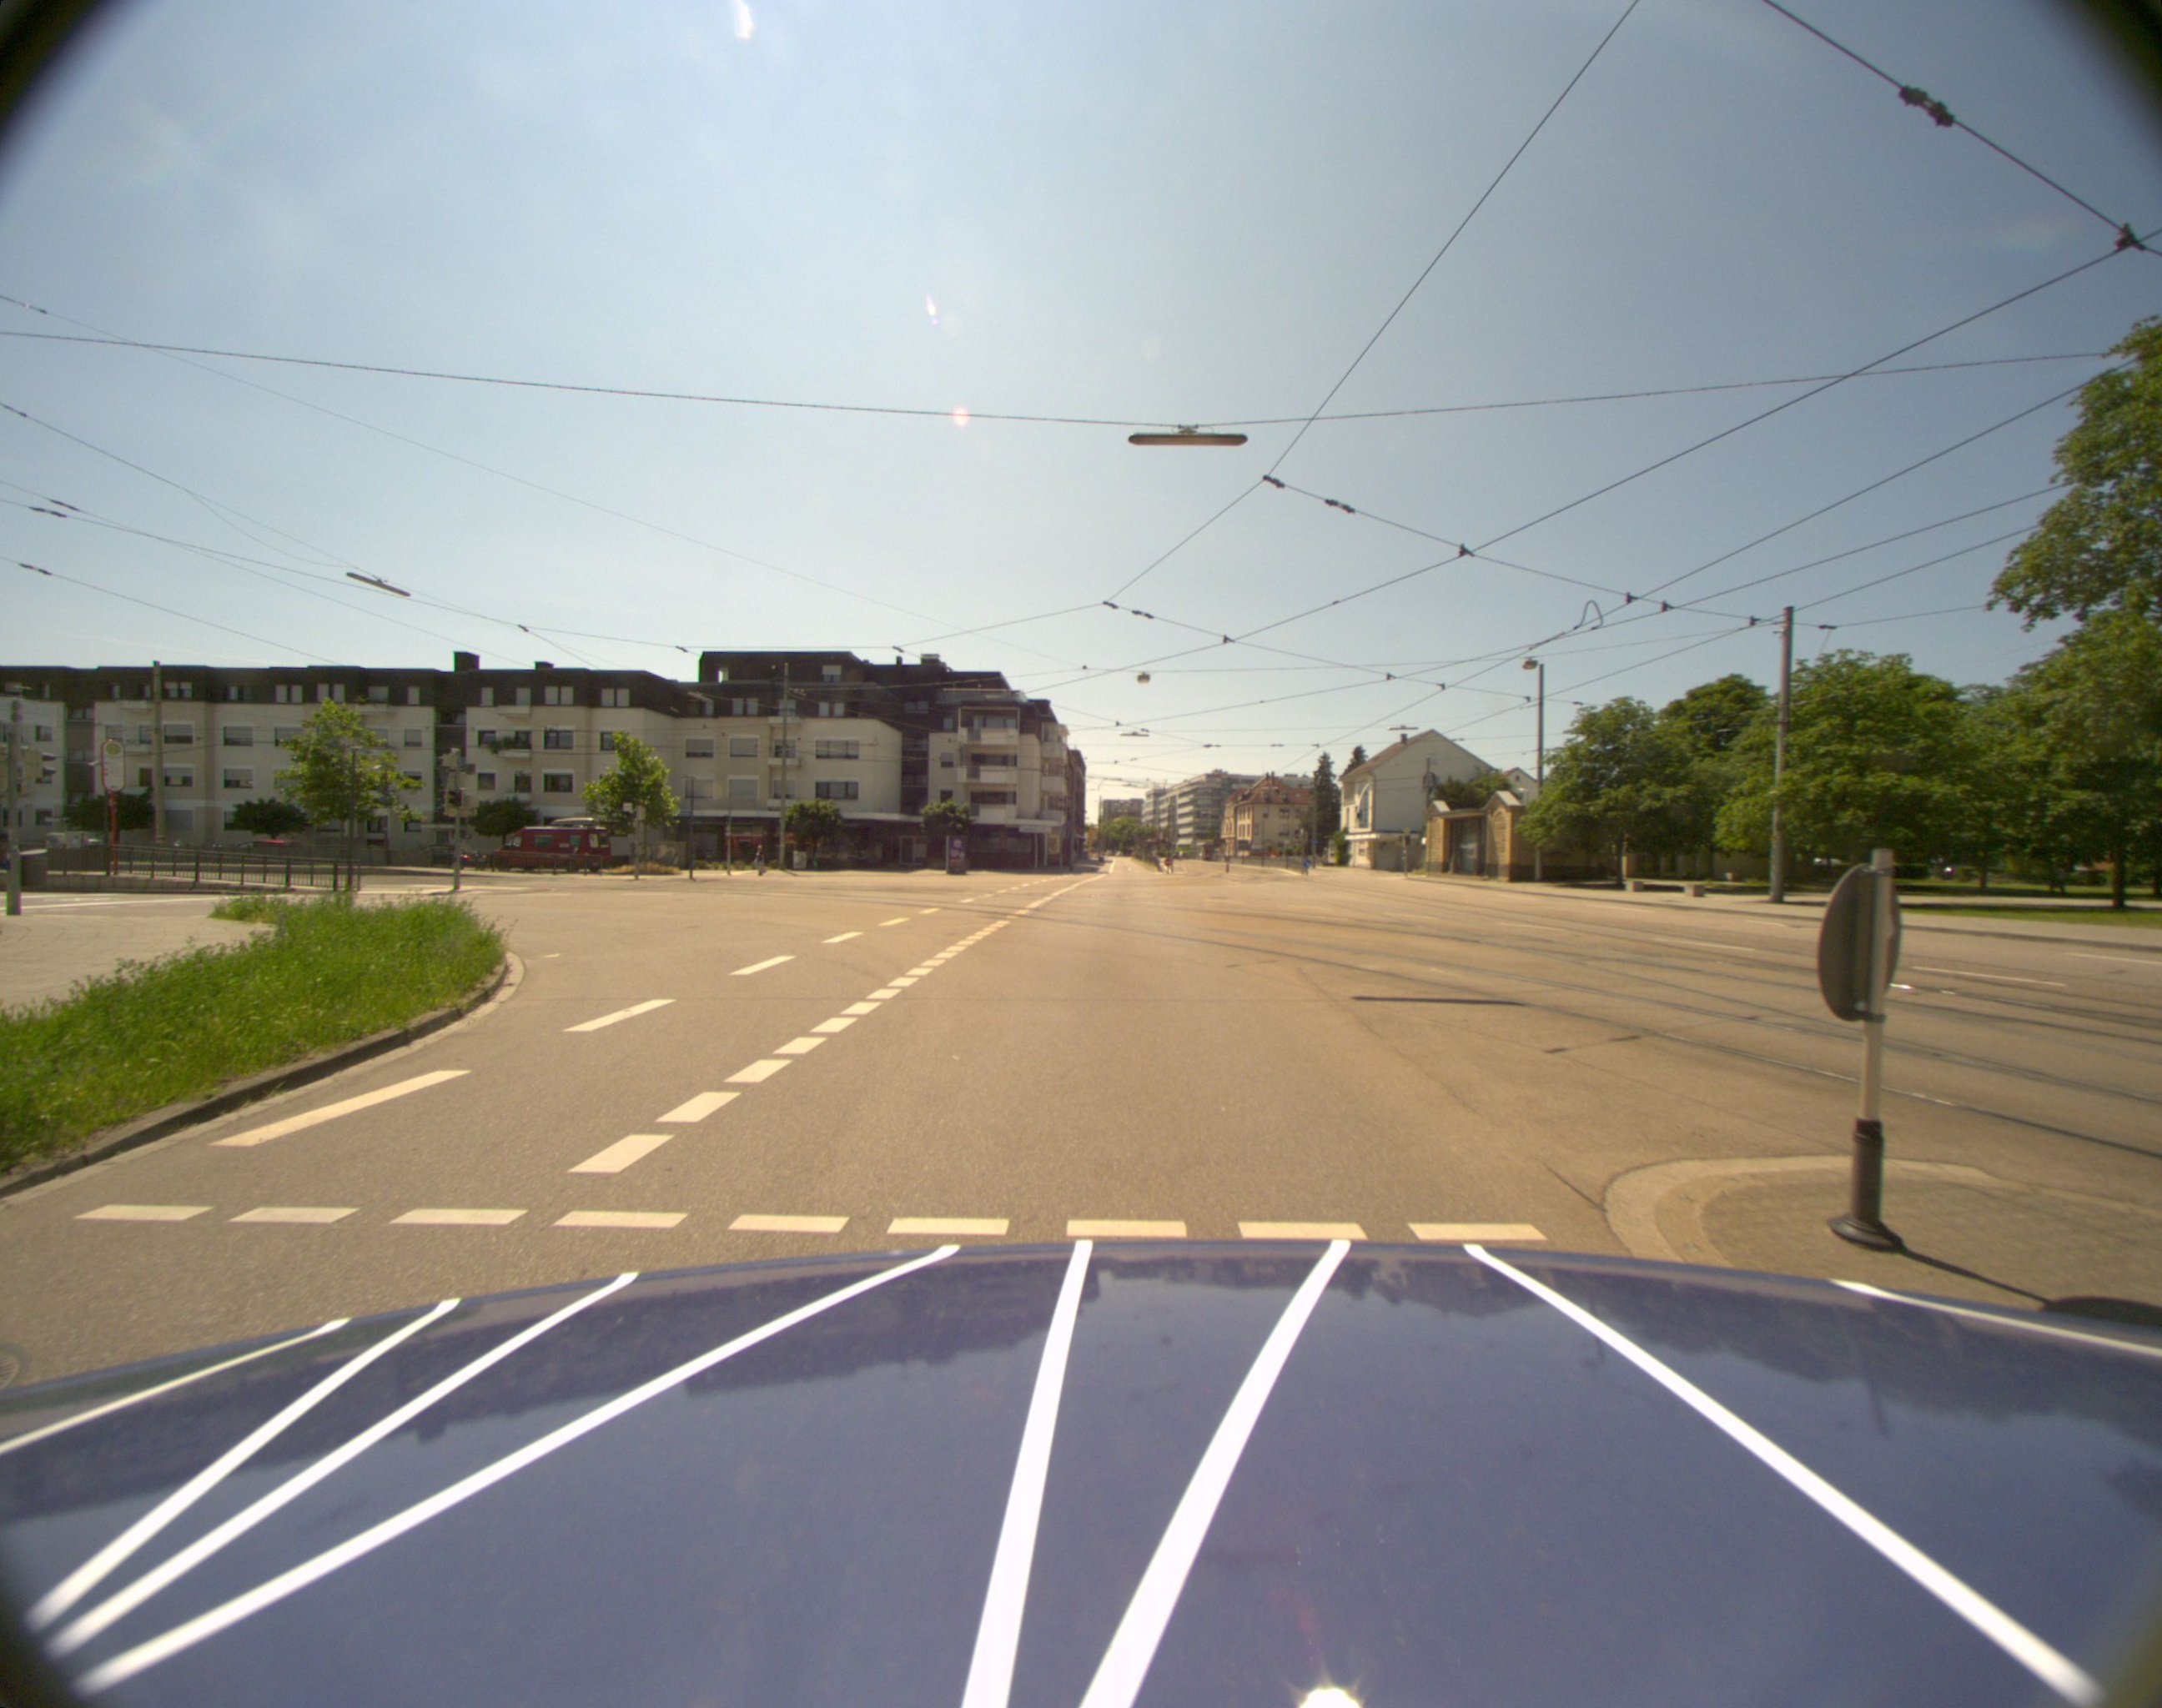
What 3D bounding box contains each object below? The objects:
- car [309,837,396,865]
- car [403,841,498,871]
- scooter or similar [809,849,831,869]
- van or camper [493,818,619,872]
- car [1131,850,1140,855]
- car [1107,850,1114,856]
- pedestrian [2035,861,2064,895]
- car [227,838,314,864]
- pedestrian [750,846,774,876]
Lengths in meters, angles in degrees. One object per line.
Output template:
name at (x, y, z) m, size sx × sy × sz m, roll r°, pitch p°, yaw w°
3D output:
car at (-43.687, -0.208, 45.610) m, size 3.649 × 1.600 × 1.653 m, roll 1°, pitch 1°, yaw 2°
car at (-34.015, 0.090, 41.034) m, size 3.802 × 1.538 × 1.679 m, roll 1°, pitch 1°, yaw 2°
scooter or similar at (-15.575, 0.301, 45.354) m, size 1.257 × 1.206 × 0.393 m, roll 0°, pitch 1°, yaw -23°
van or camper at (-28.070, -0.474, 40.754) m, size 5.235 × 2.749 × 2.208 m, roll 1°, pitch 0°, yaw 2°
car at (15.420, -0.372, 216.799) m, size 1.823 × 1.387 × 4.172 m, roll 1°, pitch 0°, yaw -6°
car at (10.363, -0.334, 264.486) m, size 1.861 × 1.806 × 4.695 m, roll 1°, pitch 0°, yaw -6°
pedestrian at (48.228, 1.184, 37.839) m, size 0.528 × 1.638 × 0.712 m, roll 1°, pitch 1°, yaw 3°
car at (-44.568, -0.167, 41.824) m, size 3.359 × 1.373 × 1.452 m, roll -1°, pitch 1°, yaw 4°
pedestrian at (-16.837, 0.362, 40.124) m, size 0.827 × 1.574 × 0.827 m, roll 1°, pitch 1°, yaw 15°
